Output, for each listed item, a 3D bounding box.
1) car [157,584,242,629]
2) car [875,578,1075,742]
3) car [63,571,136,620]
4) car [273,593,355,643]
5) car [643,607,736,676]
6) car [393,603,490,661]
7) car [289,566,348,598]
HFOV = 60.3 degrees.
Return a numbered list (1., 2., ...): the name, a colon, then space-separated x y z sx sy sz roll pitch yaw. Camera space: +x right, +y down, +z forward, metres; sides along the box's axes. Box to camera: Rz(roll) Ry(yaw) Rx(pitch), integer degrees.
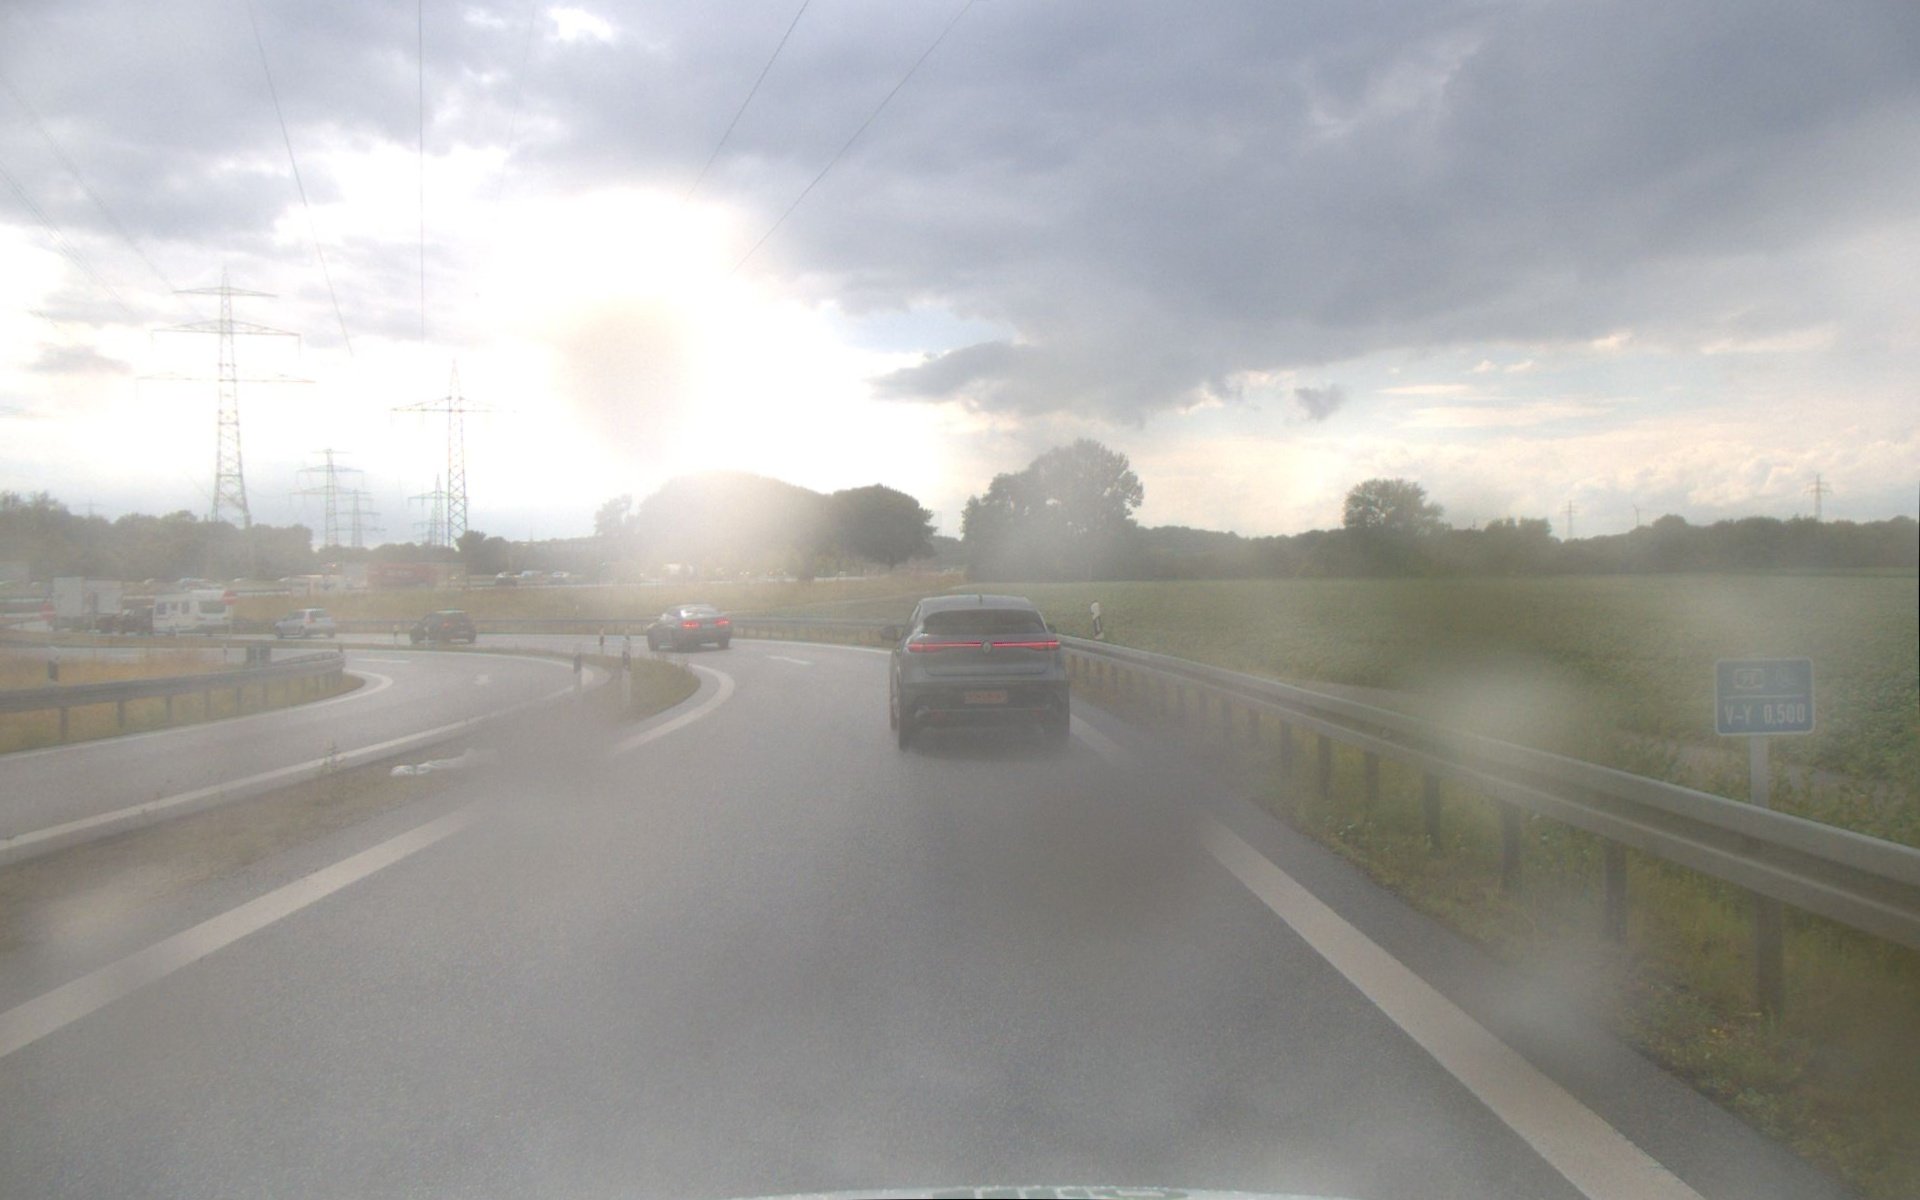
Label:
1. car: -43.909 0.342 95.443 5.029 2.346 2.349 2 3 38
2. car: 0.084 0.563 18.331 1.953 1.594 4.148 0 1 -2
3. car: -57.874 -0.353 111.137 3.114 3.002 7.114 -3 3 -37
4. car: -34.583 0.934 88.467 2.340 2.346 5.048 -3 4 -43
5. car: -9.566 1.402 58.183 2.091 2.053 5.499 -2 2 -22
6. car: -23.976 1.425 76.392 2.340 2.346 5.048 -3 4 -43
7. car: -74.918 -2.128 193.484 3.314 3.673 9.045 -1 1 0
